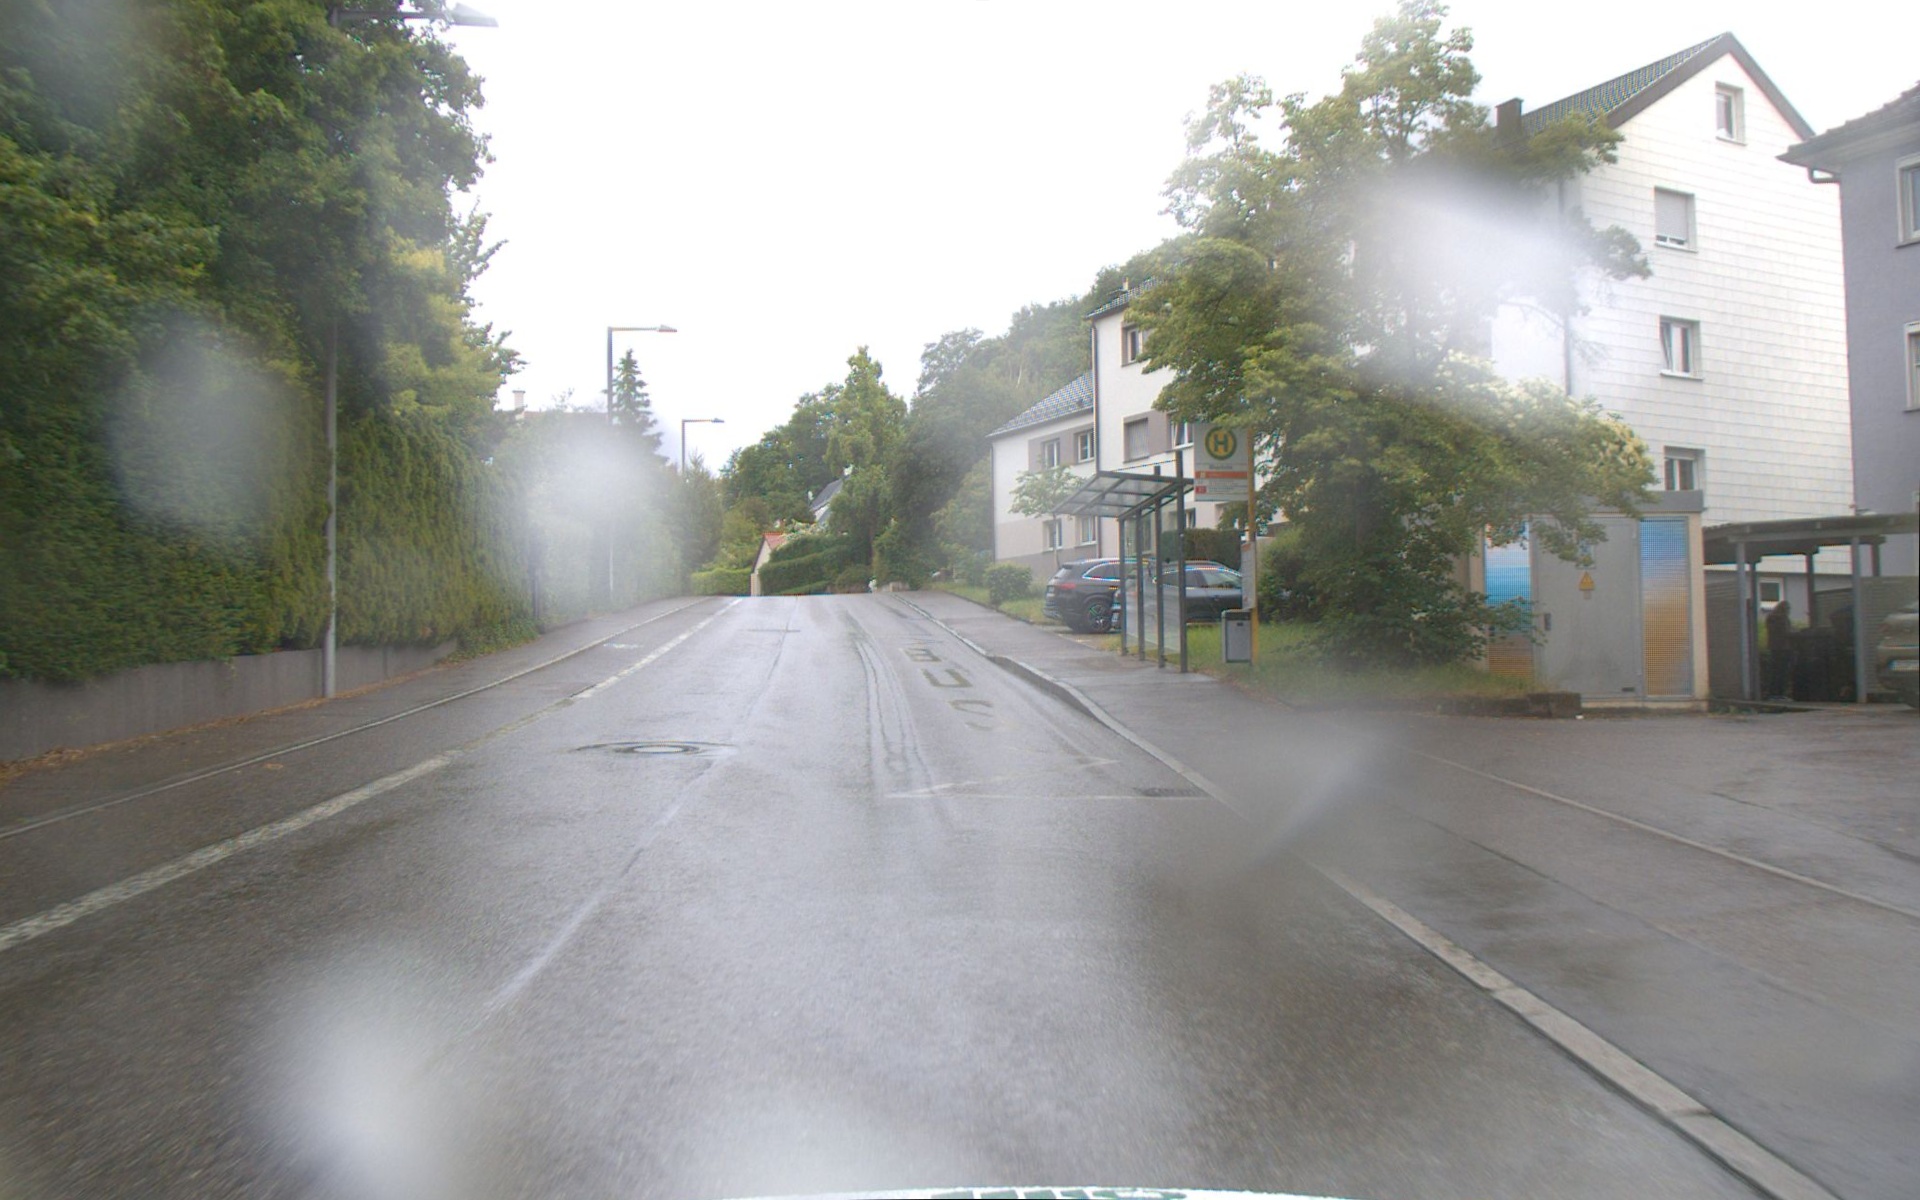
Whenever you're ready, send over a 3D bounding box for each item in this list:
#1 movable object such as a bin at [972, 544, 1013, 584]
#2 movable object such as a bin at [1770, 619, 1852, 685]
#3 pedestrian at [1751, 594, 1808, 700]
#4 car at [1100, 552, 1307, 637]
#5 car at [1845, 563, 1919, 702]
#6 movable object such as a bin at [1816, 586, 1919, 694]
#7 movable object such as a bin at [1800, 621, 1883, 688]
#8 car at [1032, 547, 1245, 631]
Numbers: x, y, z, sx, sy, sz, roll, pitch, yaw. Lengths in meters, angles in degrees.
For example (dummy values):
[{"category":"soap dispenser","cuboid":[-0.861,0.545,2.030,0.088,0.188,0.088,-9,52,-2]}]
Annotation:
[{"category":"movable object such as a bin","cuboid":[1.289,-1.419,65.212,1.232,1.523,0.969,-3,1,-39]},{"category":"movable object such as a bin","cuboid":[12.673,0.766,24.637,0.777,0.928,0.791,2,1,-2]},{"category":"pedestrian","cuboid":[13.165,0.746,26.571,0.569,1.664,0.615,1,0,-5]},{"category":"car","cuboid":[4.737,-0.136,32.437,3.672,1.484,1.722,-2,2,-7]},{"category":"car","cuboid":[11.853,0.317,17.861,3.627,1.456,1.794,-1,-2,-5]},{"category":"movable object such as a bin","cuboid":[12.670,0.538,22.807,1.114,1.418,1.119,2,1,-2]},{"category":"movable object such as a bin","cuboid":[12.707,0.777,23.856,0.777,0.916,0.730,2,1,-2]},{"category":"car","cuboid":[4.031,-0.285,37.554,4.446,1.689,1.851,-2,2,-12]}]
